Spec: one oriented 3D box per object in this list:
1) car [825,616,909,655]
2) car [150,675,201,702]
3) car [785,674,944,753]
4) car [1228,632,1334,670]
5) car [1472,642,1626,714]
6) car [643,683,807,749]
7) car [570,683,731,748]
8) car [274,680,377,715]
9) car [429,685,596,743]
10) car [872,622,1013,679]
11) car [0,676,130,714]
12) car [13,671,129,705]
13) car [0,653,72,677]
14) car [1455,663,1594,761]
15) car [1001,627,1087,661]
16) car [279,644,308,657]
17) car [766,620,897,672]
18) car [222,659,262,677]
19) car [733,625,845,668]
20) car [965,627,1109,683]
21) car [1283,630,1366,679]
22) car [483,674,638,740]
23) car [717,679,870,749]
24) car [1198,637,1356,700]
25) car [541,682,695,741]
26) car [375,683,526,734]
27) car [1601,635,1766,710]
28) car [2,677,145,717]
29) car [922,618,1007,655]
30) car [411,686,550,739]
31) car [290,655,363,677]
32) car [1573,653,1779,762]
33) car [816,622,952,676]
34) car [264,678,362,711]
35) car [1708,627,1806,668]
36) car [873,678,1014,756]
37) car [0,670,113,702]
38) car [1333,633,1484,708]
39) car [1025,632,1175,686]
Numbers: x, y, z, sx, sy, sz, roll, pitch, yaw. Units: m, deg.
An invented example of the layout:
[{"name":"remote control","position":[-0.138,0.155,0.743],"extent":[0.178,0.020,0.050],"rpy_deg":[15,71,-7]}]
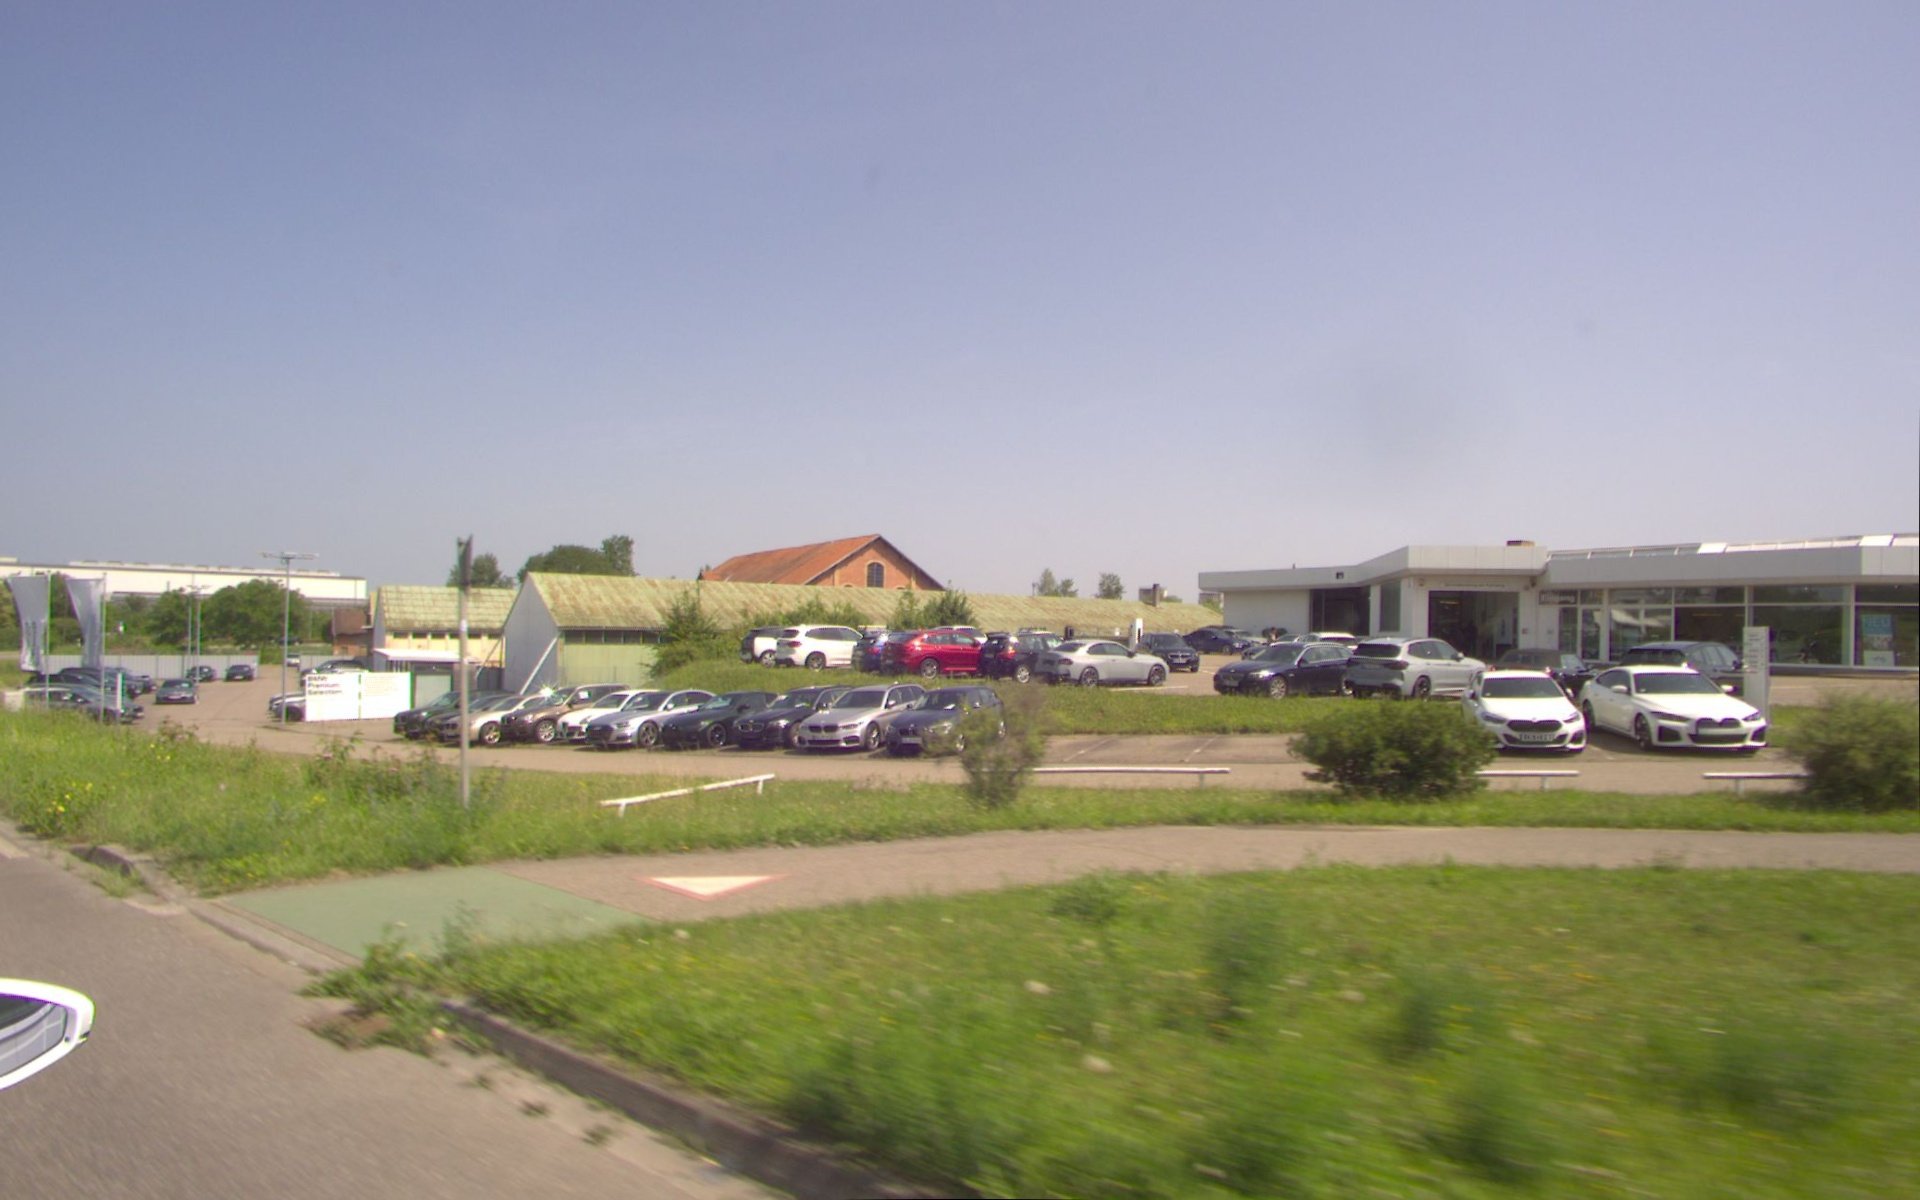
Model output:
[{"name":"car","position":[-4.110,1.525,43.609],"extent":[1.898,1.616,4.278],"rpy_deg":[2,-2,-33]},{"name":"car","position":[-46.874,5.287,59.914],"extent":[2.116,1.475,4.503],"rpy_deg":[4,-4,-35]},{"name":"car","position":[-2.310,2.810,25.511],"extent":[1.893,1.585,4.557],"rpy_deg":[-3,-2,26]},{"name":"car","position":[13.744,2.174,42.847],"extent":[4.406,1.542,1.939],"rpy_deg":[2,-2,-31]},{"name":"car","position":[14.936,1.903,25.340],"extent":[3.958,1.520,1.936],"rpy_deg":[0,0,-36]},{"name":"car","position":[-6.455,3.159,27.907],"extent":[1.898,1.430,4.236],"rpy_deg":[-4,-2,35]},{"name":"car","position":[-8.852,3.282,29.058],"extent":[1.893,1.484,4.419],"rpy_deg":[-3,-2,27]},{"name":"car","position":[-29.874,4.596,47.268],"extent":[3.742,1.541,1.747],"rpy_deg":[3,-4,-22]},{"name":"car","position":[-14.797,3.742,33.398],"extent":[1.974,1.527,4.753],"rpy_deg":[-4,-3,35]},{"name":"car","position":[-0.557,1.666,33.393],"extent":[4.413,1.769,1.936],"rpy_deg":[2,-2,-36]},{"name":"car","position":[-39.633,4.188,44.243],"extent":[4.102,1.541,1.748],"rpy_deg":[3,-3,-20]},{"name":"car","position":[-51.236,5.073,57.800],"extent":[4.561,1.722,1.854],"rpy_deg":[2,-1,-16]},{"name":"car","position":[-68.892,4.802,73.917],"extent":[4.567,1.624,1.852],"rpy_deg":[3,-3,-21]},{"name":"car","position":[11.252,2.144,20.272],"extent":[1.738,1.590,4.569],"rpy_deg":[-1,-2,21]},{"name":"car","position":[4.166,2.182,50.318],"extent":[2.166,1.616,4.278],"rpy_deg":[2,-2,-33]},{"name":"car","position":[-75.575,5.752,113.627],"extent":[1.968,1.415,3.989],"rpy_deg":[3,-4,-23]},{"name":"car","position":[-4.636,1.662,36.519],"extent":[4.413,1.769,1.826],"rpy_deg":[2,-2,-36]},{"name":"car","position":[-62.243,5.898,86.851],"extent":[1.968,1.415,3.989],"rpy_deg":[3,-4,-23]},{"name":"car","position":[-6.496,1.749,38.143],"extent":[3.840,1.552,1.756],"rpy_deg":[2,-2,-36]},{"name":"car","position":[2.518,1.737,32.124],"extent":[4.413,1.655,1.936],"rpy_deg":[2,-2,-36]},{"name":"car","position":[13.075,1.921,36.136],"extent":[1.625,1.606,4.270],"rpy_deg":[1,-1,3]},{"name":"car","position":[-12.720,3.357,32.108],"extent":[1.974,1.770,4.236],"rpy_deg":[-4,-3,35]},{"name":"car","position":[-4.358,2.991,26.863],"extent":[1.893,1.501,4.247],"rpy_deg":[-3,-2,26]},{"name":"car","position":[8.618,1.818,27.193],"extent":[3.952,1.546,1.940],"rpy_deg":[2,-1,-30]},{"name":"car","position":[-10.520,3.406,31.050],"extent":[1.850,1.483,4.236],"rpy_deg":[-4,-3,35]},{"name":"car","position":[-18.538,3.911,36.654],"extent":[2.117,1.659,4.477],"rpy_deg":[-2,-4,31]},{"name":"car","position":[17.492,1.676,24.159],"extent":[4.370,1.519,1.937],"rpy_deg":[-1,-1,-36]},{"name":"car","position":[-37.132,4.068,42.065],"extent":[4.098,1.541,1.689],"rpy_deg":[2,-3,-16]},{"name":"car","position":[0.140,1.690,46.359],"extent":[1.898,1.616,4.278],"rpy_deg":[2,-2,-33]},{"name":"car","position":[-16.713,3.892,35.042],"extent":[1.972,1.571,3.982],"rpy_deg":[-3,-4,31]},{"name":"car","position":[-48.534,5.050,76.771],"extent":[1.883,1.542,4.321],"rpy_deg":[1,-2,30]},{"name":"car","position":[13.854,1.980,19.730],"extent":[1.736,1.591,4.659],"rpy_deg":[0,0,15]},{"name":"car","position":[-2.605,1.691,34.864],"extent":[4.413,1.769,1.826],"rpy_deg":[2,-2,-36]},{"name":"car","position":[-32.107,4.699,49.797],"extent":[3.913,1.542,1.744],"rpy_deg":[3,-3,-29]},{"name":"car","position":[33.225,1.965,41.728],"extent":[3.984,1.606,1.900],"rpy_deg":[2,-1,-30]},{"name":"car","position":[-0.273,2.727,24.048],"extent":[1.753,1.439,4.563],"rpy_deg":[-3,-2,21]},{"name":"car","position":[-46.216,4.386,51.125],"extent":[4.102,1.541,1.853],"rpy_deg":[3,-4,-20]},{"name":"car","position":[11.856,1.779,26.396],"extent":[3.958,1.773,1.936],"rpy_deg":[1,-1,-36]},{"name":"car","position":[4.283,1.763,30.404],"extent":[4.413,1.519,1.936],"rpy_deg":[2,-2,-36]}]
